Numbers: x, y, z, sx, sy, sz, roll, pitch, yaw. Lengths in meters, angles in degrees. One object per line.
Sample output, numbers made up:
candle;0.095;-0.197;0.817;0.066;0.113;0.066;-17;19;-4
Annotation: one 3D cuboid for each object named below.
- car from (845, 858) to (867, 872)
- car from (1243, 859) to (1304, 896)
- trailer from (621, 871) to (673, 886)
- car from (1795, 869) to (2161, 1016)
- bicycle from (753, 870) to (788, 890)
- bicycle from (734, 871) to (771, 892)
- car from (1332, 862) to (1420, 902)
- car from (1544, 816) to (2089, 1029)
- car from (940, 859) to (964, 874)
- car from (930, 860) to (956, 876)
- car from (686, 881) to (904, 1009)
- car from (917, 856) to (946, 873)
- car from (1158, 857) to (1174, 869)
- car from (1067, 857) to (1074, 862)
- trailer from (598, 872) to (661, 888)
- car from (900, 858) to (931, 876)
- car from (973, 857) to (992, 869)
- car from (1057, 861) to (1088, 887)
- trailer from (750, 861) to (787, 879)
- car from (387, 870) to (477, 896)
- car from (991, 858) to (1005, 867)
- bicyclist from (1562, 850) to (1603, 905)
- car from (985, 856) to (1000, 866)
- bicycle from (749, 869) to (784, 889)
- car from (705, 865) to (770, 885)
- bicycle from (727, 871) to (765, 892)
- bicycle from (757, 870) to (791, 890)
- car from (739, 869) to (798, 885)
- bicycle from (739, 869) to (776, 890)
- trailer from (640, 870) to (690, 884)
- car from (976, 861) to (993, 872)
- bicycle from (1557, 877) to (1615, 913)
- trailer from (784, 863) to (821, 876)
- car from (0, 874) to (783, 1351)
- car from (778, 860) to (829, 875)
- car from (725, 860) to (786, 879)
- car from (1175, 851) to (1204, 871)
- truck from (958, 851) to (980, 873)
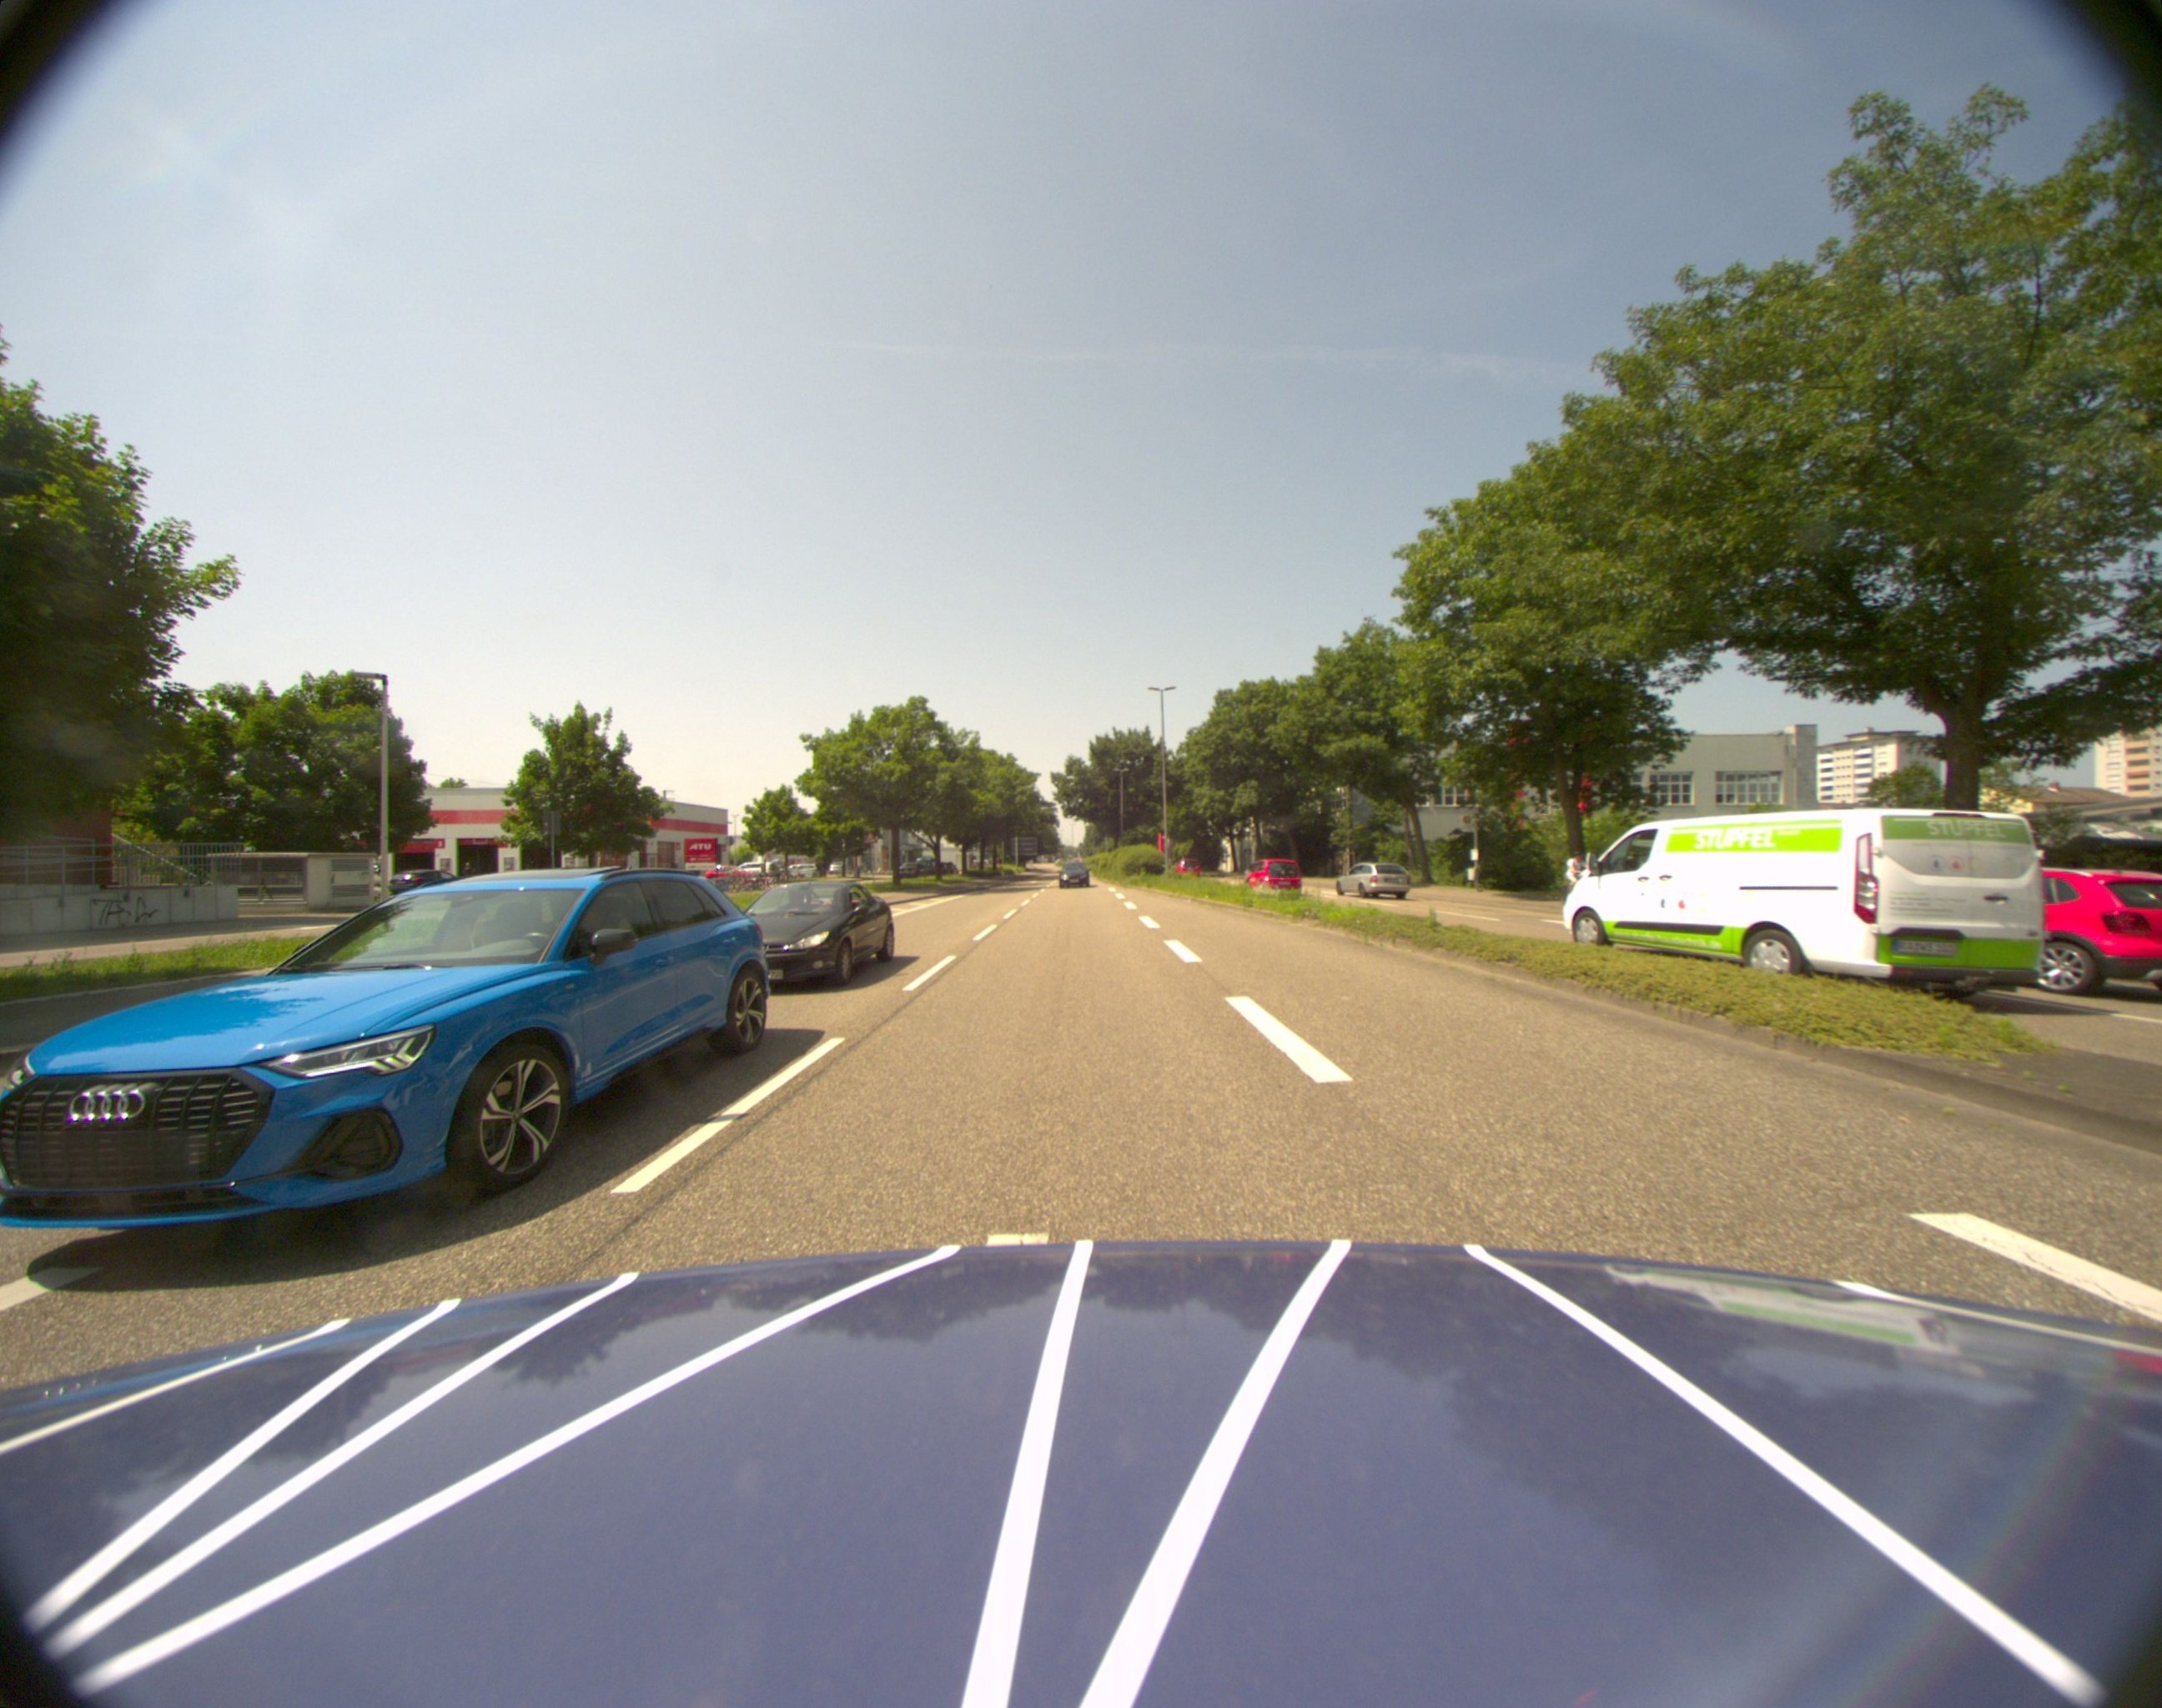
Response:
car;-25.812;1.207;87.122;1.759;1.586;3.998;-1;0;-7
car;8.120;0.948;32.335;1.584;1.432;3.608;2;0;-1
trailer;-23.909;1.339;41.887;2.137;0.757;1.267;-1;0;2
car;11.938;0.987;9.838;1.710;1.444;3.891;2;0;1
bicycle;-17.998;1.521;44.029;1.784;1.117;0.514;-1;0;-6
bicycle;-18.086;1.512;41.807;1.784;1.117;0.514;-1;0;-6
car;11.853;1.079;30.848;1.782;1.395;4.359;2;0;-1
car;8.347;0.643;9.525;1.999;1.934;4.908;2;0;-1
car;-13.414;1.304;79.065;1.719;1.504;4.000;-1;0;1
car;-13.200;1.312;72.890;1.719;1.511;4.000;-1;0;1
car;-3.891;1.161;11.111;1.642;1.336;4.000;-3;0;0
car;-13.304;0.947;67.739;1.719;1.458;4.000;-1;0;1
car;11.826;1.204;106.234;1.720;1.594;4.213;2;0;0
car;-3.144;1.724;234.577;1.999;1.692;4.000;-1;0;0
trailer;-23.774;1.354;40.067;2.467;0.757;1.449;-1;0;2
car;-13.383;1.047;61.598;1.642;1.363;4.000;-1;0;1
car;-12.522;1.100;96.819;1.719;1.458;4.000;-1;0;1
car;-0.485;1.099;42.873;1.642;1.395;4.000;-1;0;0
trailer;-27.162;1.358;66.100;2.642;1.518;1.415;-1;0;-2
car;-38.041;1.656;44.690;1.717;1.364;4.145;0;0;0
car;-12.797;1.305;117.245;1.719;1.458;4.000;-1;0;1
bicyclist;14.875;0.683;22.562;0.609;1.621;0.923;0;0;1
car;-12.927;1.016;110.847;1.719;1.458;4.000;-1;0;1
bicycle;-17.916;1.427;43.293;1.784;1.117;0.514;-1;0;-6
car;-25.499;1.540;56.476;3.998;1.394;1.747;-1;0;-2
bicycle;-18.164;1.494;41.189;1.784;1.117;0.514;-1;0;-6
bicycle;-18.020;1.535;44.657;1.784;1.117;0.514;-1;0;-6
car;-25.152;1.861;61.253;3.998;1.201;1.747;-1;0;-3
bicycle;-18.133;1.415;42.612;1.784;1.117;0.514;-1;0;-6
trailer;-23.864;1.316;43.627;2.137;0.757;1.394;-1;0;2
car;-13.134;1.657;103.426;1.719;1.458;4.000;-1;0;1
bicycle;14.864;1.189;22.404;0.619;0.963;1.660;0;0;1
trailer;-24.259;1.323;66.315;2.642;1.046;1.578;-1;0;-2
car;-3.729;0.994;4.923;1.842;1.586;4.400;-1;0;0
car;-24.938;1.190;68.406;3.998;1.293;1.689;-1;0;-3
car;-25.147;1.168;58.794;3.998;1.394;1.747;-1;0;-3
car;8.867;0.576;62.135;1.753;1.560;4.153;2;0;0
truck;-13.373;0.897;90.795;1.904;2.552;4.001;-1;0;2
